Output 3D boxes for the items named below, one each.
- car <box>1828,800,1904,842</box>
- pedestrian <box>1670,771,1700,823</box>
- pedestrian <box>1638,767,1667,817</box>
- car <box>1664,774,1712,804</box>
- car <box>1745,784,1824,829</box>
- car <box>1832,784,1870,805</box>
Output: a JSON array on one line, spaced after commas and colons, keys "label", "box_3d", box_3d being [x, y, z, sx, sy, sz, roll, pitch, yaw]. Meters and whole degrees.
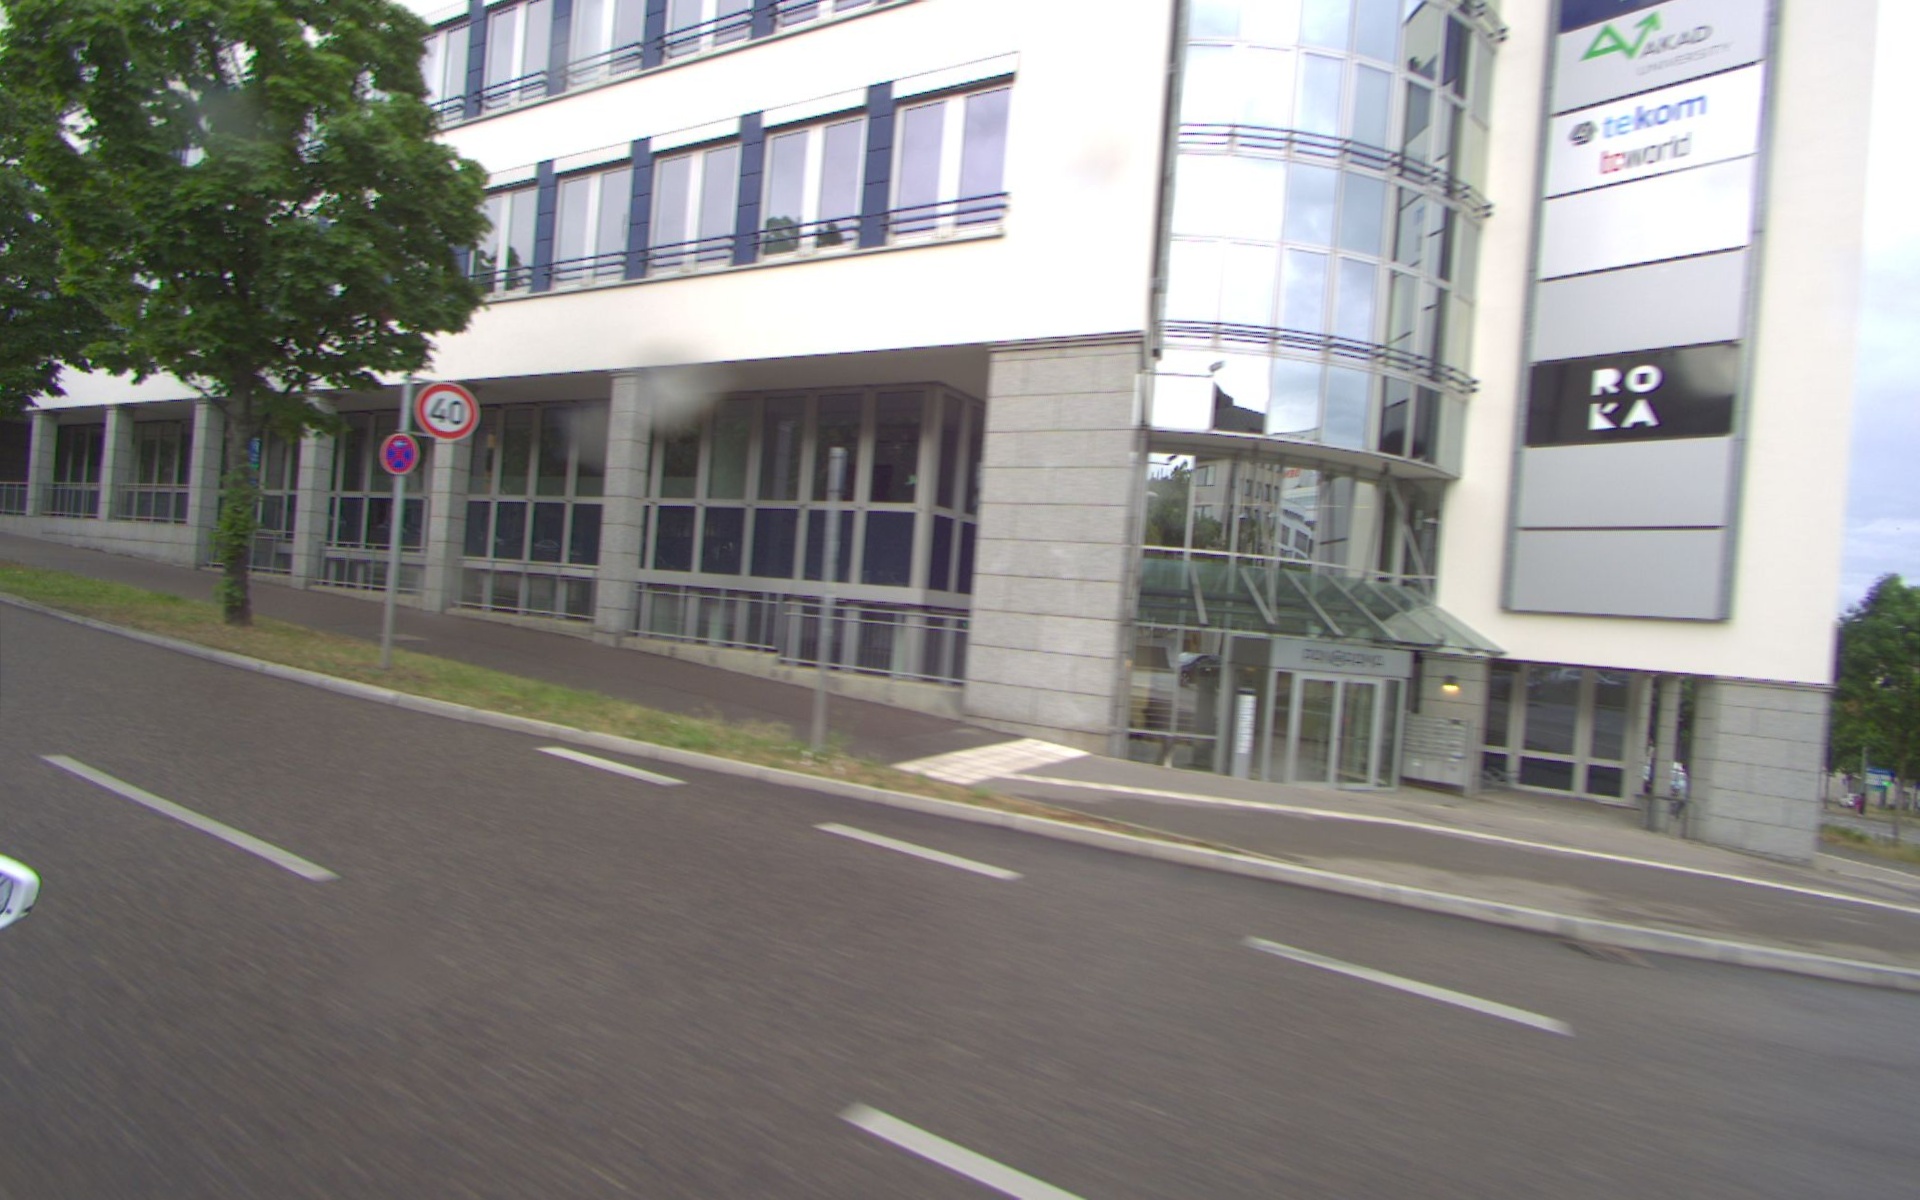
[{"label": "car", "box_3d": [45.116, 10.986, 50.180, 1.769, 1.525, 4.003, 6, -5, 28]}, {"label": "pedestrian", "box_3d": [25.966, 7.040, 36.036, 0.723, 1.672, 0.560, 6, -1, 34]}, {"label": "pedestrian", "box_3d": [25.161, 6.958, 36.554, 0.723, 1.672, 0.560, 6, -1, 34]}, {"label": "car", "box_3d": [47.601, 12.337, 65.873, 1.769, 1.525, 4.504, 6, -5, 28]}, {"label": "car", "box_3d": [37.743, 9.409, 46.166, 1.769, 1.526, 4.503, 6, -5, 28]}, {"label": "car", "box_3d": [91.082, 19.864, 102.888, 1.769, 1.528, 4.497, 6, -2, 28]}]
